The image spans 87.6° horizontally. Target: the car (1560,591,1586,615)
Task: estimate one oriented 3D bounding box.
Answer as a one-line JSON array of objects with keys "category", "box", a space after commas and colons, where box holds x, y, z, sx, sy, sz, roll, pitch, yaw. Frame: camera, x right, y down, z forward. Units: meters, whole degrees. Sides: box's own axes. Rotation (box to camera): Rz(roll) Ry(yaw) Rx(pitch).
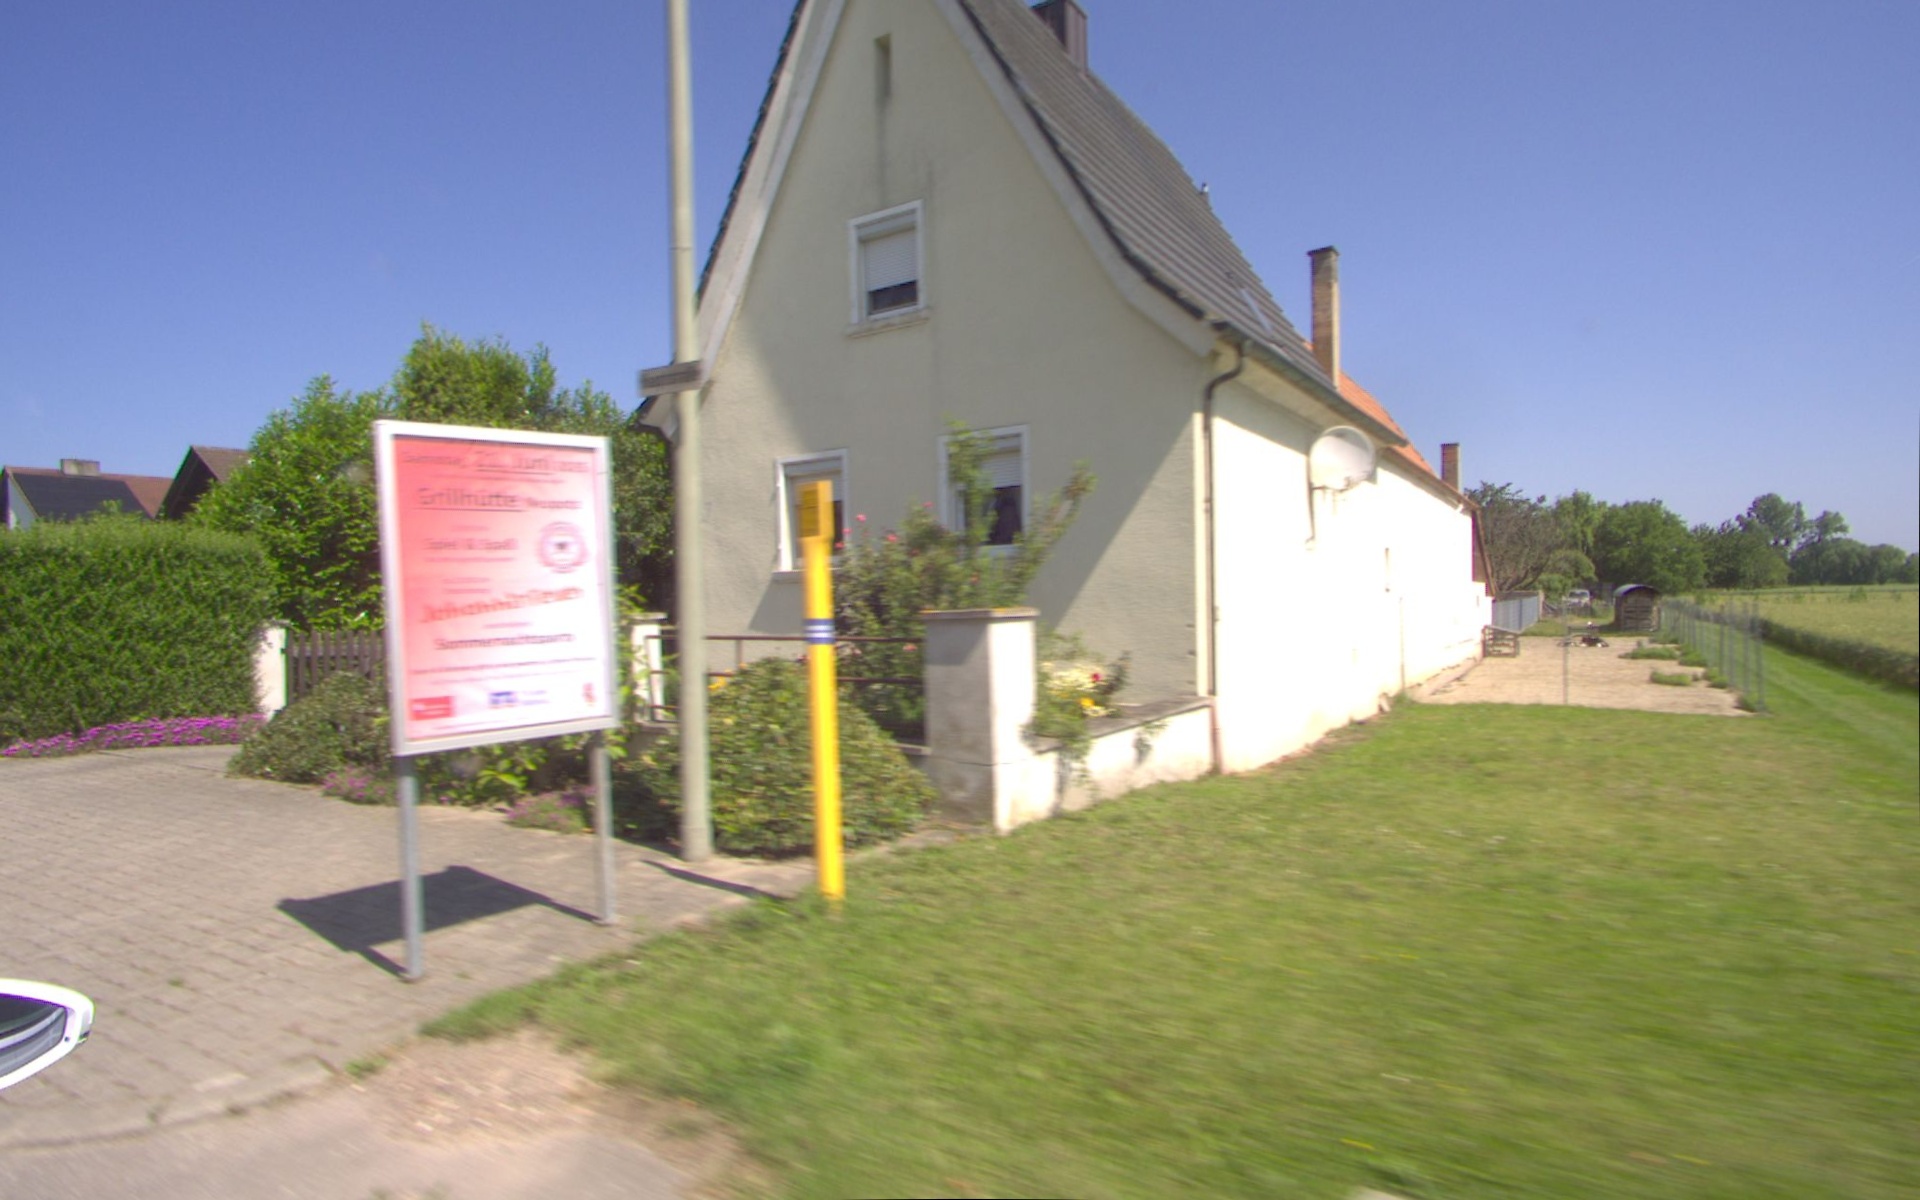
[{"category": "car", "box": [53.338, 0.289, 87.095, 1.881, 1.972, 4.283, -1, -2, 33]}]
